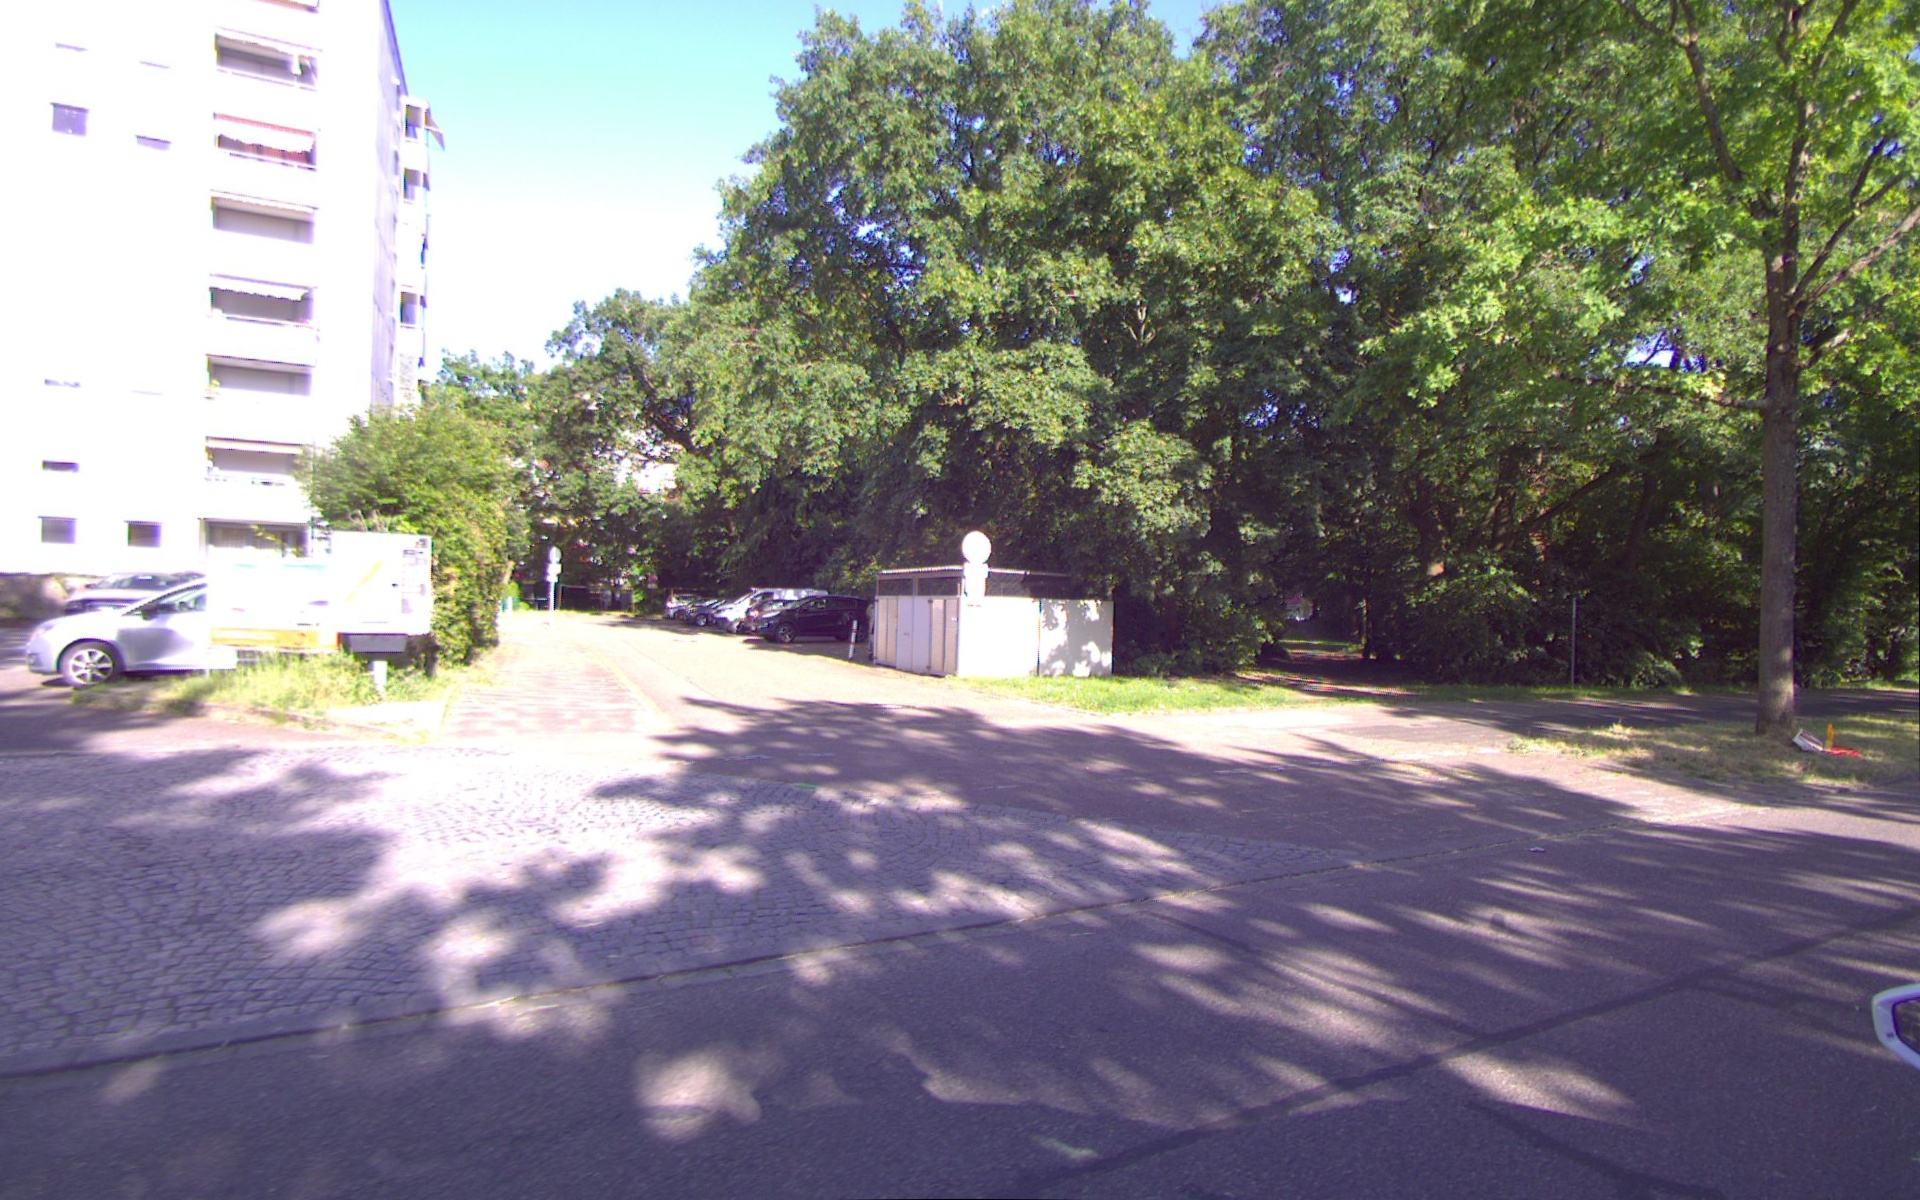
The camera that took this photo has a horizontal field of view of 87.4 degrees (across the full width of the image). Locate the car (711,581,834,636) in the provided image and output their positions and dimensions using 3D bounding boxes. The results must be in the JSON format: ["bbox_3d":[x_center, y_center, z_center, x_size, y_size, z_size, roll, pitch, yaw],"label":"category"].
[{"bbox_3d":[-7.943,0.385,42.561,4.764,2.160,1.987,2,0,-26],"label":"car"}]

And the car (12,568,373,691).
[{"bbox_3d":[-9.865,0.381,13.224,3.436,1.441,1.543,2,1,-22],"label":"car"}]

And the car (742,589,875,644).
[{"bbox_3d":[-5.351,0.596,35.519,4.205,1.777,1.984,2,-1,-30],"label":"car"}]

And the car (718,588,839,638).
[{"bbox_3d":[-7.060,0.518,39.112,4.205,1.777,1.984,2,-1,-30],"label":"car"}]

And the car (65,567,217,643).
[{"bbox_3d":[-17.223,0.064,21.288,1.562,1.419,3.188,2,1,-22],"label":"car"}]

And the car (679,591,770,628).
[{"bbox_3d":[-12.219,0.522,52.182,4.205,1.777,1.984,2,-1,-30],"label":"car"}]

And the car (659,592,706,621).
[{"bbox_3d":[-17.772,0.401,64.204,1.975,1.777,4.223,2,-1,-28],"label":"car"}]
